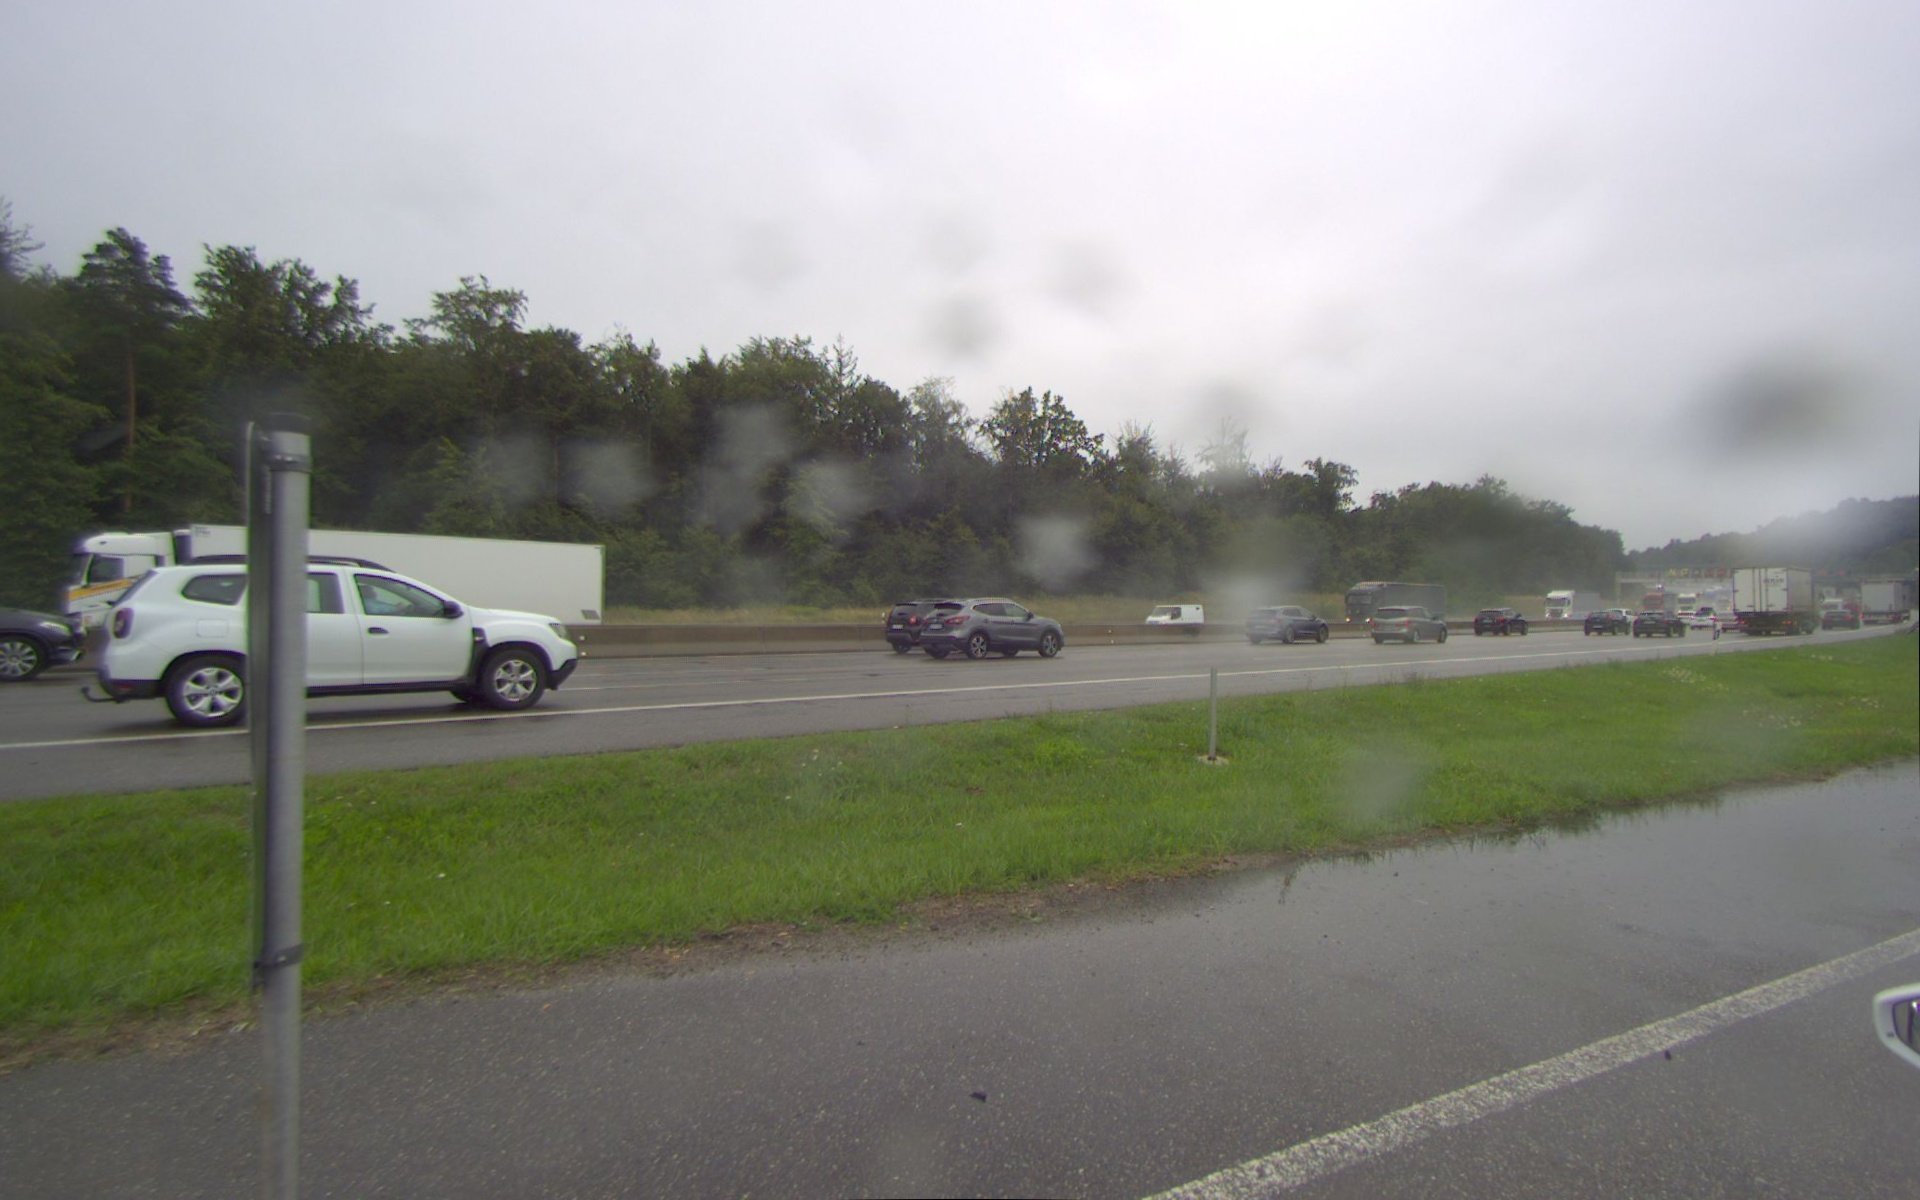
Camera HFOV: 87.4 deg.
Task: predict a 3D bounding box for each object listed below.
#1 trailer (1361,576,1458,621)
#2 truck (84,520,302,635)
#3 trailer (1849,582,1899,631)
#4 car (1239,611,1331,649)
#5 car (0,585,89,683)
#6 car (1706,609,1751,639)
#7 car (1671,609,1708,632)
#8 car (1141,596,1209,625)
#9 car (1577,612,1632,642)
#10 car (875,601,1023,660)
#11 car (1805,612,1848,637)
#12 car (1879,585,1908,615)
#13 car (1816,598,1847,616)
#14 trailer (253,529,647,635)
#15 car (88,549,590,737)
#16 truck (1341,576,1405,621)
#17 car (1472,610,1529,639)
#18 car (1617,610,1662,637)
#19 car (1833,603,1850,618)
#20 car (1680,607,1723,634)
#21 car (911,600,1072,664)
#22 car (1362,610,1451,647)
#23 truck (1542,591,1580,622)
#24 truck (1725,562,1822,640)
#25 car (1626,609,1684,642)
[{"bbox_3d":[41.724,-0.153,92.933,13.308,3.863,3.000,0,2,-42],"label":"trailer"},{"bbox_3d":[-25.421,-0.640,33.483,5.556,3.498,2.624,1,-1,-40],"label":"truck"},{"bbox_3d":[91.985,0.775,100.959,3.510,4.673,12.049,-1,-1,43],"label":"trailer"},{"bbox_3d":[14.174,1.300,43.720,4.420,1.594,1.705,1,-1,-39],"label":"car"},{"bbox_3d":[-17.210,0.560,16.352,4.488,1.596,1.691,1,-2,-40],"label":"car"},{"bbox_3d":[53.278,1.642,69.617,4.303,1.997,1.772,1,0,-43],"label":"car"},{"bbox_3d":[67.058,1.881,92.342,3.970,2.040,1.976,1,-1,-42],"label":"car"},{"bbox_3d":[14.865,0.734,69.391,4.884,1.860,1.977,1,1,-40],"label":"car"},{"bbox_3d":[39.703,1.649,61.844,4.067,1.759,1.761,1,-2,-41],"label":"car"},{"bbox_3d":[-0.289,0.934,30.940,4.426,1.685,1.908,1,-2,-42],"label":"car"},{"bbox_3d":[66.523,1.874,77.074,3.970,1.840,1.975,1,1,-42],"label":"car"},{"bbox_3d":[113.516,-0.003,122.135,2.347,3.532,4.786,4,2,43],"label":"car"},{"bbox_3d":[98.048,0.797,113.027,3.966,1.840,1.977,1,2,-40],"label":"car"},{"bbox_3d":[-19.091,-0.506,38.902,13.377,3.544,2.626,1,-1,-41],"label":"trailer"},{"bbox_3d":[-6.382,0.413,10.674,4.287,1.607,1.771,1,-2,-40],"label":"car"},{"bbox_3d":[36.215,-0.163,87.941,5.602,3.797,3.014,0,2,-42],"label":"truck"},{"bbox_3d":[33.119,1.495,61.470,4.068,1.759,1.760,1,-1,-41],"label":"car"},{"bbox_3d":[52.627,1.832,77.781,3.970,2.040,1.976,1,-1,-42],"label":"car"},{"bbox_3d":[133.894,1.603,152.543,1.655,2.040,3.979,9,5,41],"label":"car"},{"bbox_3d":[60.133,1.671,81.451,3.970,2.041,1.975,1,1,-42],"label":"car"},{"bbox_3d":[0.900,0.848,27.051,4.298,1.595,1.705,1,-1,-39],"label":"car"},{"bbox_3d":[19.390,1.213,43.555,4.296,1.547,1.775,1,-1,-38],"label":"car"},{"bbox_3d":[76.072,0.795,127.096,4.724,3.582,2.690,-2,5,-41],"label":"truck"},{"bbox_3d":[49.853,0.212,61.357,11.754,4.349,2.824,2,-2,-42],"label":"truck"},{"bbox_3d":[38.109,1.378,55.078,3.817,1.759,1.760,1,-1,-41],"label":"car"}]
